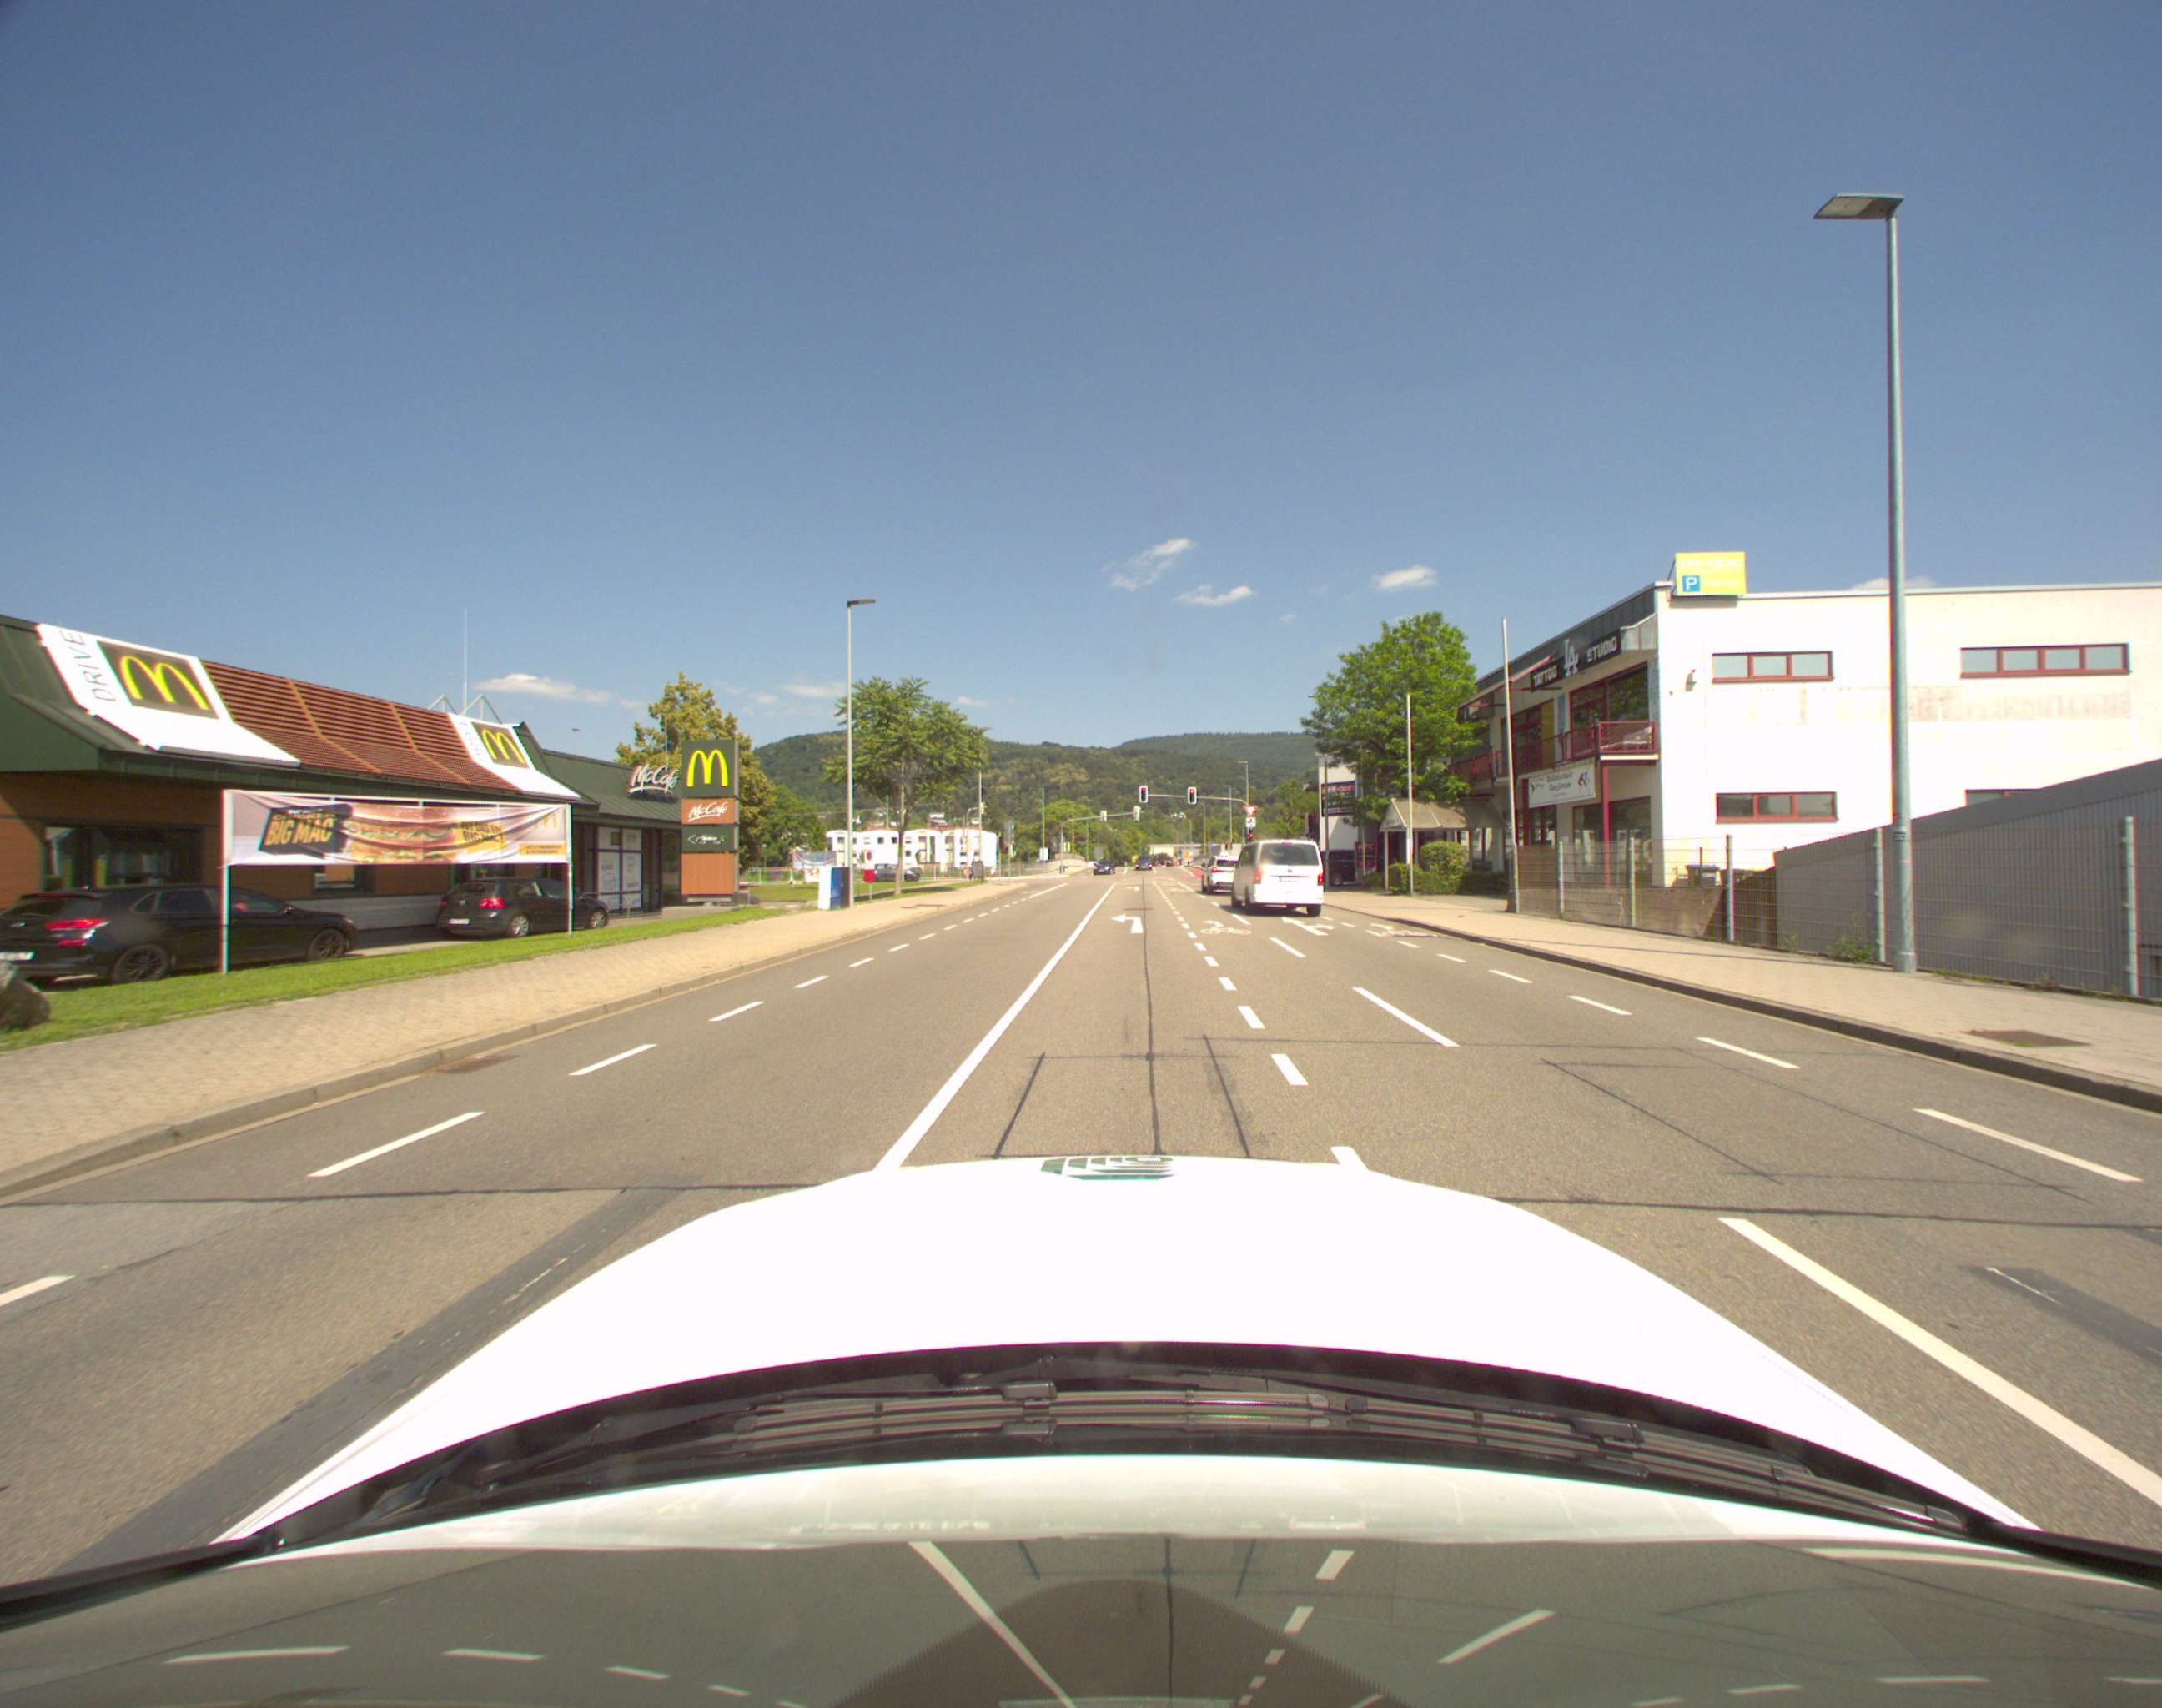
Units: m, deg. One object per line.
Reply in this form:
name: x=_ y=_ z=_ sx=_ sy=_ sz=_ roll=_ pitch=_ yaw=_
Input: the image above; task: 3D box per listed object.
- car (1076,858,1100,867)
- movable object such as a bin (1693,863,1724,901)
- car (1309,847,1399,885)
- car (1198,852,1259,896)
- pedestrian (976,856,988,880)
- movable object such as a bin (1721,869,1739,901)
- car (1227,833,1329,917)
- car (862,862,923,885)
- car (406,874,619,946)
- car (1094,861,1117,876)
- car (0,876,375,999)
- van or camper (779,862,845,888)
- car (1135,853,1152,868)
car: x=1.381 y=1.694 z=158.708 sx=4.404 sy=1.588 sz=1.867 roll=-2 pitch=0 yaw=32
movable object such as a bin: x=17.123 y=0.767 z=22.229 sx=0.410 sy=1.012 sz=0.545 roll=-1 pitch=-1 yaw=6
car: x=13.393 y=0.594 z=40.206 sx=3.962 sy=1.775 sz=2.006 roll=-1 pitch=0 yaw=10
car: x=6.107 y=0.785 z=34.262 sx=1.927 sy=1.686 sz=4.547 roll=1 pitch=0 yaw=3
pedestrian: x=-6.779 y=0.951 z=55.732 sx=0.696 sy=1.573 sz=0.676 roll=-1 pitch=0 yaw=1
movable object such as a bin: x=17.807 y=0.855 z=22.336 sx=0.266 sy=0.854 sz=0.275 roll=-1 pitch=-1 yaw=6
car: x=5.339 y=0.521 z=22.631 sx=1.926 sy=2.059 sz=4.548 roll=1 pitch=0 yaw=3
car: x=-14.024 y=1.456 z=60.791 sx=4.316 sy=1.592 sz=1.993 roll=-1 pitch=0 yaw=-11
car: x=-13.622 y=1.264 z=19.889 sx=1.983 sy=1.416 sz=4.136 roll=2 pitch=0 yaw=6
car: x=2.418 y=1.360 z=80.059 sx=1.984 sy=1.370 sz=4.332 roll=-1 pitch=0 yaw=4
car: x=-14.193 y=1.174 z=13.070 sx=1.820 sy=1.476 sz=4.323 roll=2 pitch=0 yaw=2
van or camper: x=-17.992 y=1.398 z=54.571 sx=3.992 sy=1.574 sz=1.991 roll=2 pitch=0 yaw=-14
car: x=6.948 y=0.747 z=90.162 sx=1.841 sy=1.588 sz=4.005 roll=-1 pitch=0 yaw=4
